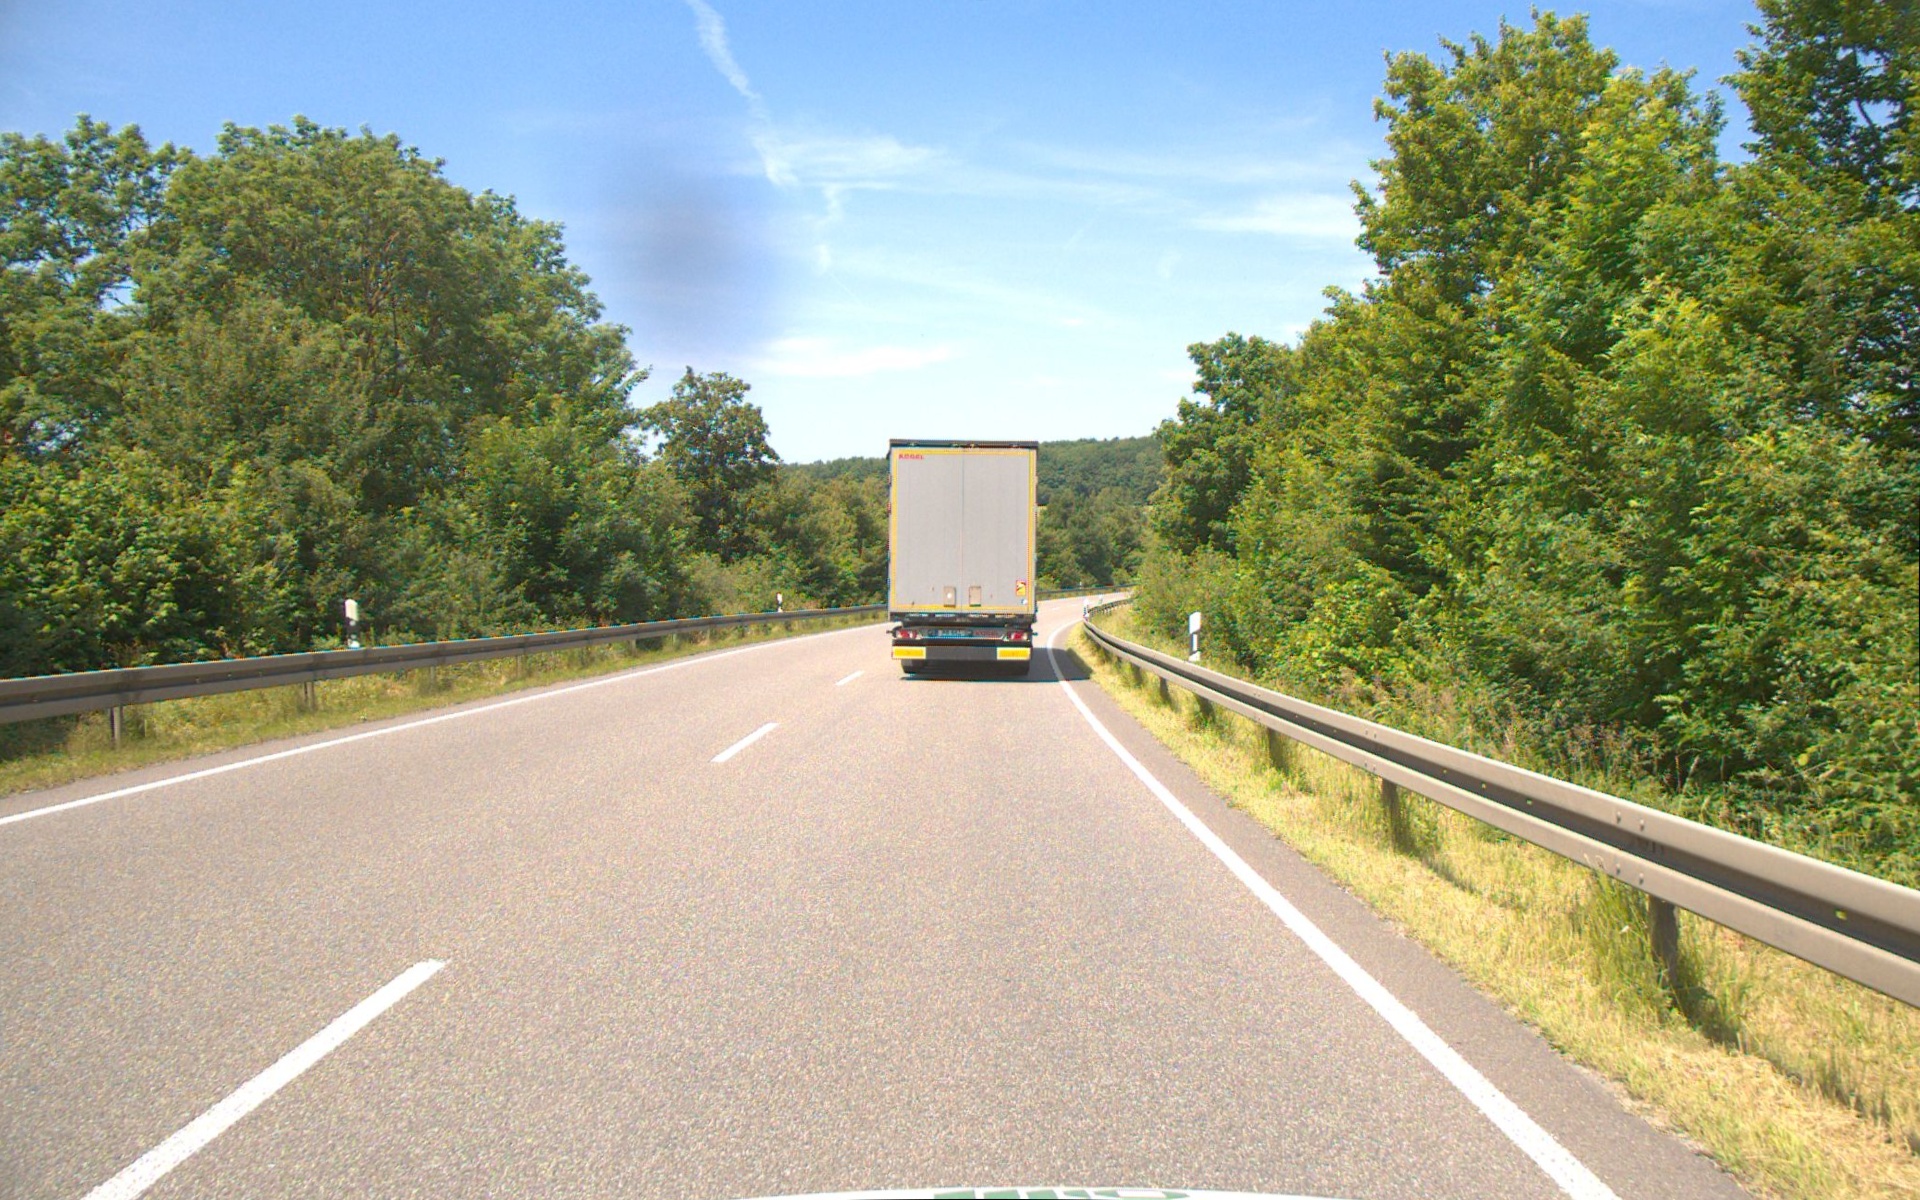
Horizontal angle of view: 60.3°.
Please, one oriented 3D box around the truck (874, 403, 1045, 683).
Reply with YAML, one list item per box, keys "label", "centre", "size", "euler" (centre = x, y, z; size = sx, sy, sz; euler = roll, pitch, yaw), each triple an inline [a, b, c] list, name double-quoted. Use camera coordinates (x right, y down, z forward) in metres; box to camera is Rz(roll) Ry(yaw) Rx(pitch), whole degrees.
- label: "truck"
  centre: [0.108, -0.965, 33.489]
  size: [2.759, 4.612, 11.769]
  euler: [1, 0, 1]
